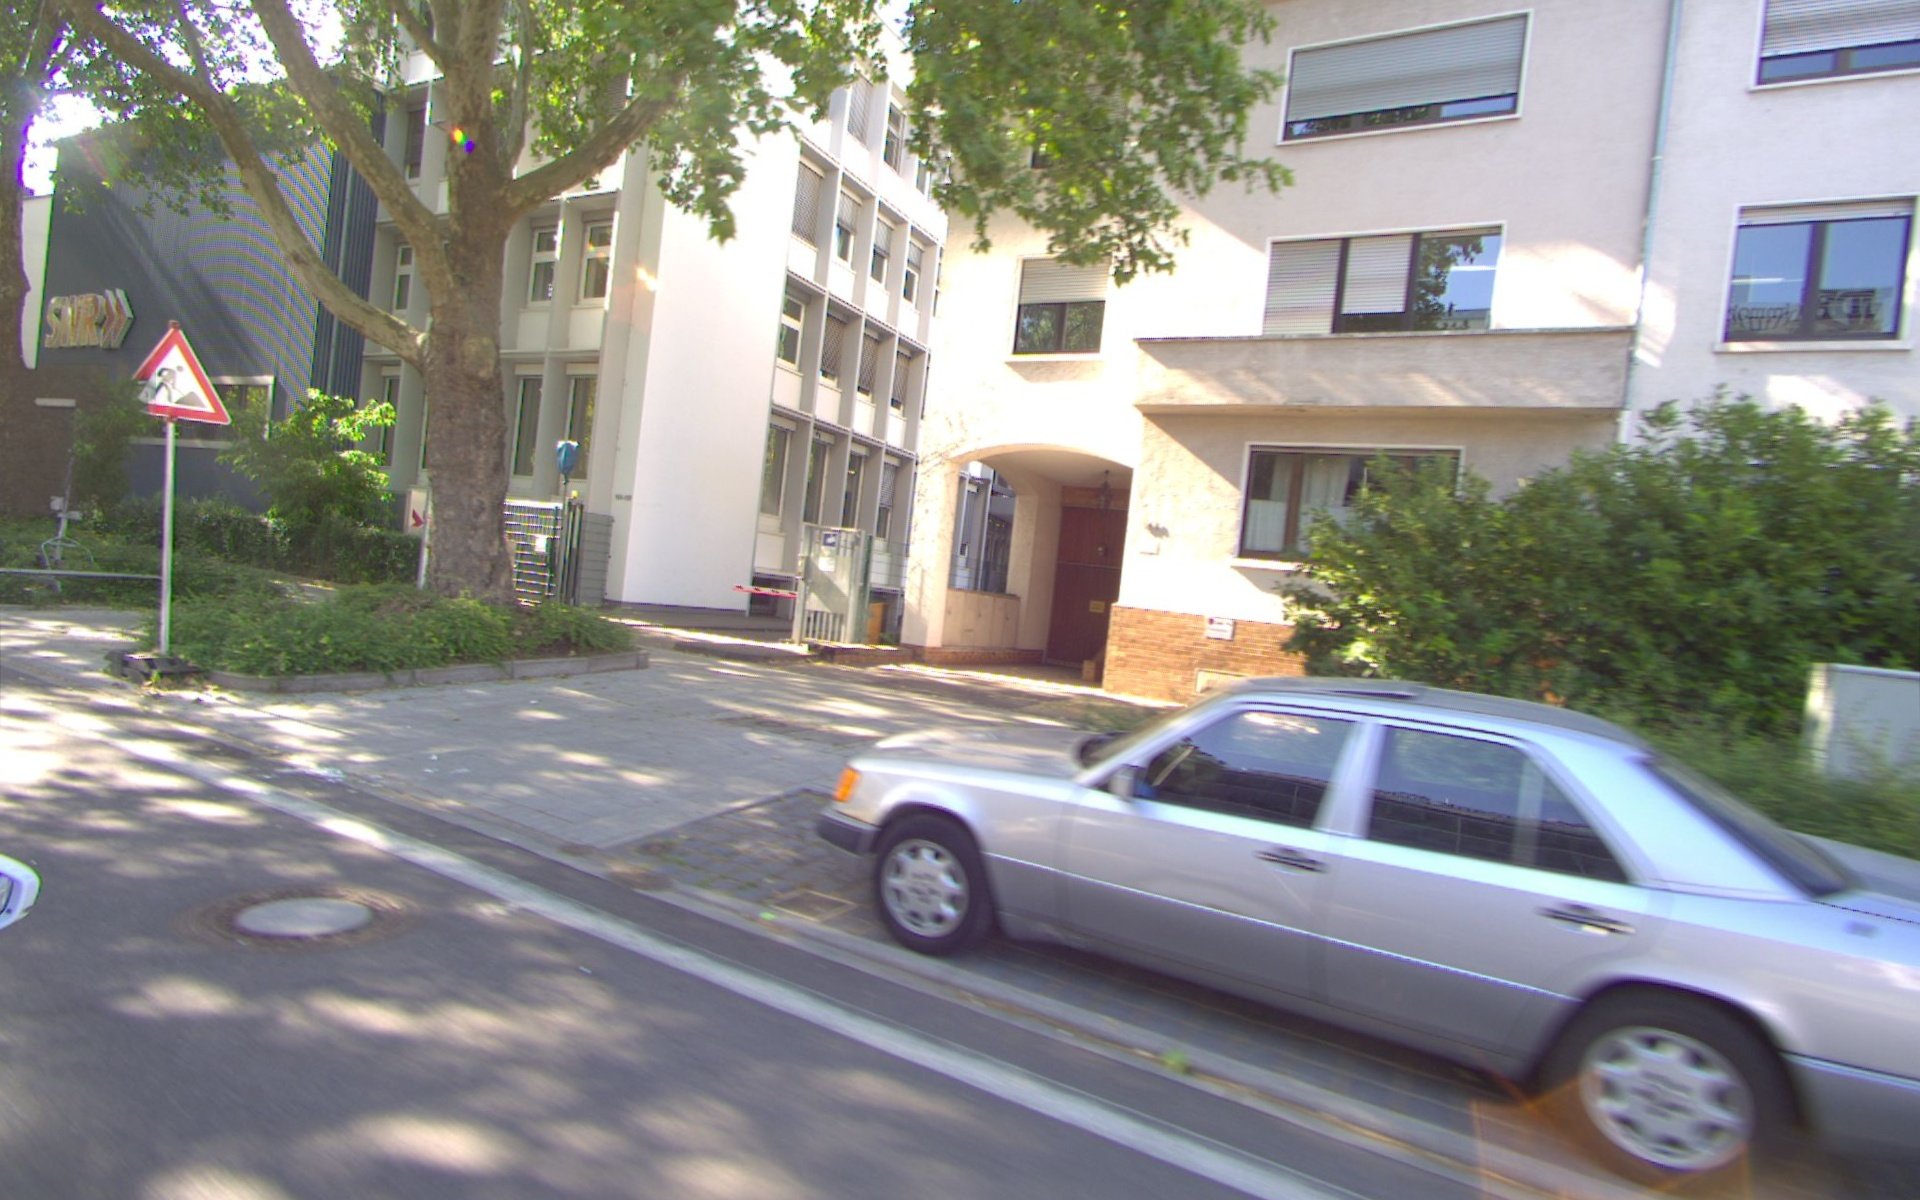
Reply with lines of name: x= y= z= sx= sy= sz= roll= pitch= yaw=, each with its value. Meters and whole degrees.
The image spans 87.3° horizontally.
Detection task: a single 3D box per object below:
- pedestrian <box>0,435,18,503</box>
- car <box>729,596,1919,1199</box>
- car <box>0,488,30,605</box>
pedestrian: x=-24.744 y=-3.396 z=25.617 sx=0.663 sy=1.668 sz=0.708 roll=10 pitch=0 yaw=26
car: x=1.543 y=1.043 z=4.488 sx=4.855 sy=1.497 sz=1.856 roll=7 pitch=0 yaw=27
car: x=-14.807 y=-0.965 z=13.750 sx=4.178 sy=1.526 sz=1.767 roll=7 pitch=0 yaw=29
